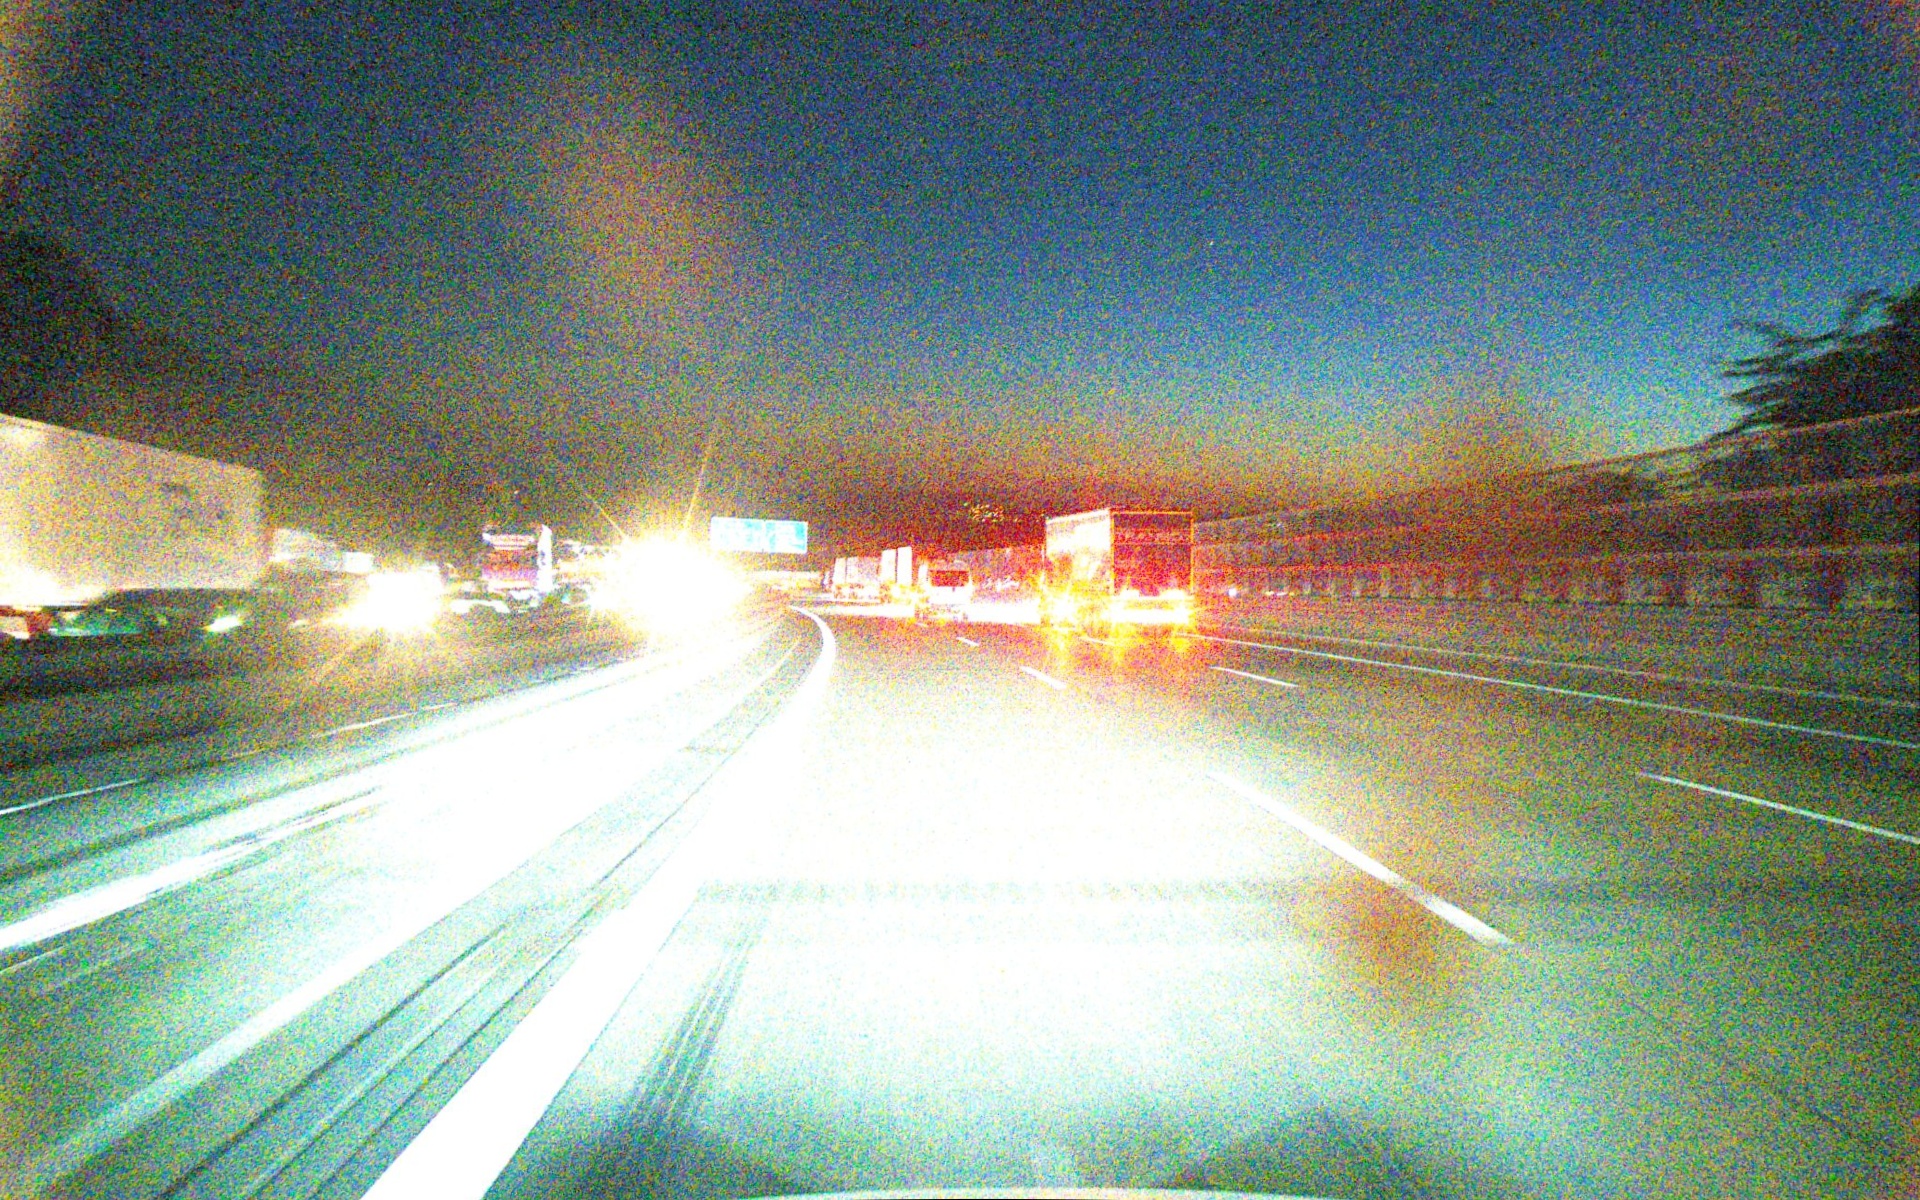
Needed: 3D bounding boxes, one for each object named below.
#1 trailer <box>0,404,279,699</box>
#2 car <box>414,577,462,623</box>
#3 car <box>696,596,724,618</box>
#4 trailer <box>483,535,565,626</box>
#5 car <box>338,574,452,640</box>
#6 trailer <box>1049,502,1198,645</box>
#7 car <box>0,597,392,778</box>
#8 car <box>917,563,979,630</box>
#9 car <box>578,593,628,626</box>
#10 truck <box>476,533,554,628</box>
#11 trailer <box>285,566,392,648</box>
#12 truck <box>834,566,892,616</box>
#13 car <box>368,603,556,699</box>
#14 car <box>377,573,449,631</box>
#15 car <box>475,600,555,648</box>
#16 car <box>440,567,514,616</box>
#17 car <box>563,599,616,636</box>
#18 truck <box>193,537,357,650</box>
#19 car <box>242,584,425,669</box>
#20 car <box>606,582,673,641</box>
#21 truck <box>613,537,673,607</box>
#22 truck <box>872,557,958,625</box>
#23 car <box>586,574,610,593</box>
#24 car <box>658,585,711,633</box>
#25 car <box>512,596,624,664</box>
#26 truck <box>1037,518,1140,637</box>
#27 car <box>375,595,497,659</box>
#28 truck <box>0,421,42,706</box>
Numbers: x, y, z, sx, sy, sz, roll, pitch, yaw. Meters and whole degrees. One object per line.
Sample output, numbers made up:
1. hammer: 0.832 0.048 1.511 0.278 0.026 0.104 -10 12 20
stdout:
1. trailer: -16.471 -0.673 30.316 2.784 4.542 14.510 -3 0 -4
2. car: -24.506 -0.009 77.757 1.683 2.115 4.500 0 0 -11
3. car: -18.451 0.515 122.103 1.808 1.451 4.506 3 0 -7
4. trailer: -20.160 -0.904 76.898 2.768 3.986 8.721 0 0 -9
5. car: -17.429 0.258 51.302 1.865 1.920 5.019 1 -1 -1
6. trailer: 5.143 -0.784 54.982 2.797 4.138 13.194 0 0 -4
7. car: -7.474 0.764 16.446 1.864 1.518 4.868 0 -1 1
8. car: -0.586 -0.107 72.936 2.291 2.686 5.242 2 -2 -5
9. car: -16.740 0.436 77.657 1.910 1.468 4.642 0 0 -8
10. truck: -19.454 -0.859 72.543 2.775 3.985 4.924 0 0 -9
11. trailer: -21.941 0.233 58.573 2.317 2.792 4.986 0 0 -6
12. truck: -9.763 -0.933 164.503 3.286 4.554 13.865 3 0 -13
13. car: -8.524 0.830 28.768 1.865 1.518 4.866 0 -1 -1
14. car: -23.779 0.092 72.077 1.955 2.441 4.508 0 0 -5
15. car: -14.735 0.796 54.981 1.867 1.518 4.860 1 -1 -7
16. car: -18.876 -0.328 64.840 1.955 1.842 4.315 0 0 -5
17. car: -15.484 0.751 69.259 1.597 1.374 3.995 4 -2 -5
18. truck: -21.390 -0.197 52.114 2.445 3.275 7.905 0 0 -5
19. car: -12.094 0.497 32.303 1.865 1.518 4.865 0 -1 -2
20. car: -11.085 0.406 57.459 1.839 1.956 4.861 1 -1 -6
21. truck: -21.002 -1.760 109.949 3.049 4.169 7.066 4 -2 -6
22. truck: -3.624 -0.506 124.465 3.842 4.708 20.973 0 -1 -9
23. car: -28.763 -1.293 131.562 1.622 1.503 3.767 0 0 -8
24. car: -11.760 0.401 70.789 1.839 1.956 5.597 1 -1 -6
25. car: -9.355 0.729 39.789 1.593 1.518 4.866 1 -1 -1
26. truck: 4.672 -0.795 61.657 2.805 4.148 7.505 0 0 -4
27. car: -13.245 0.667 42.086 1.866 1.518 4.863 0 -1 -5
28. truck: -15.778 -0.565 23.376 2.564 4.344 5.952 0 0 -4
